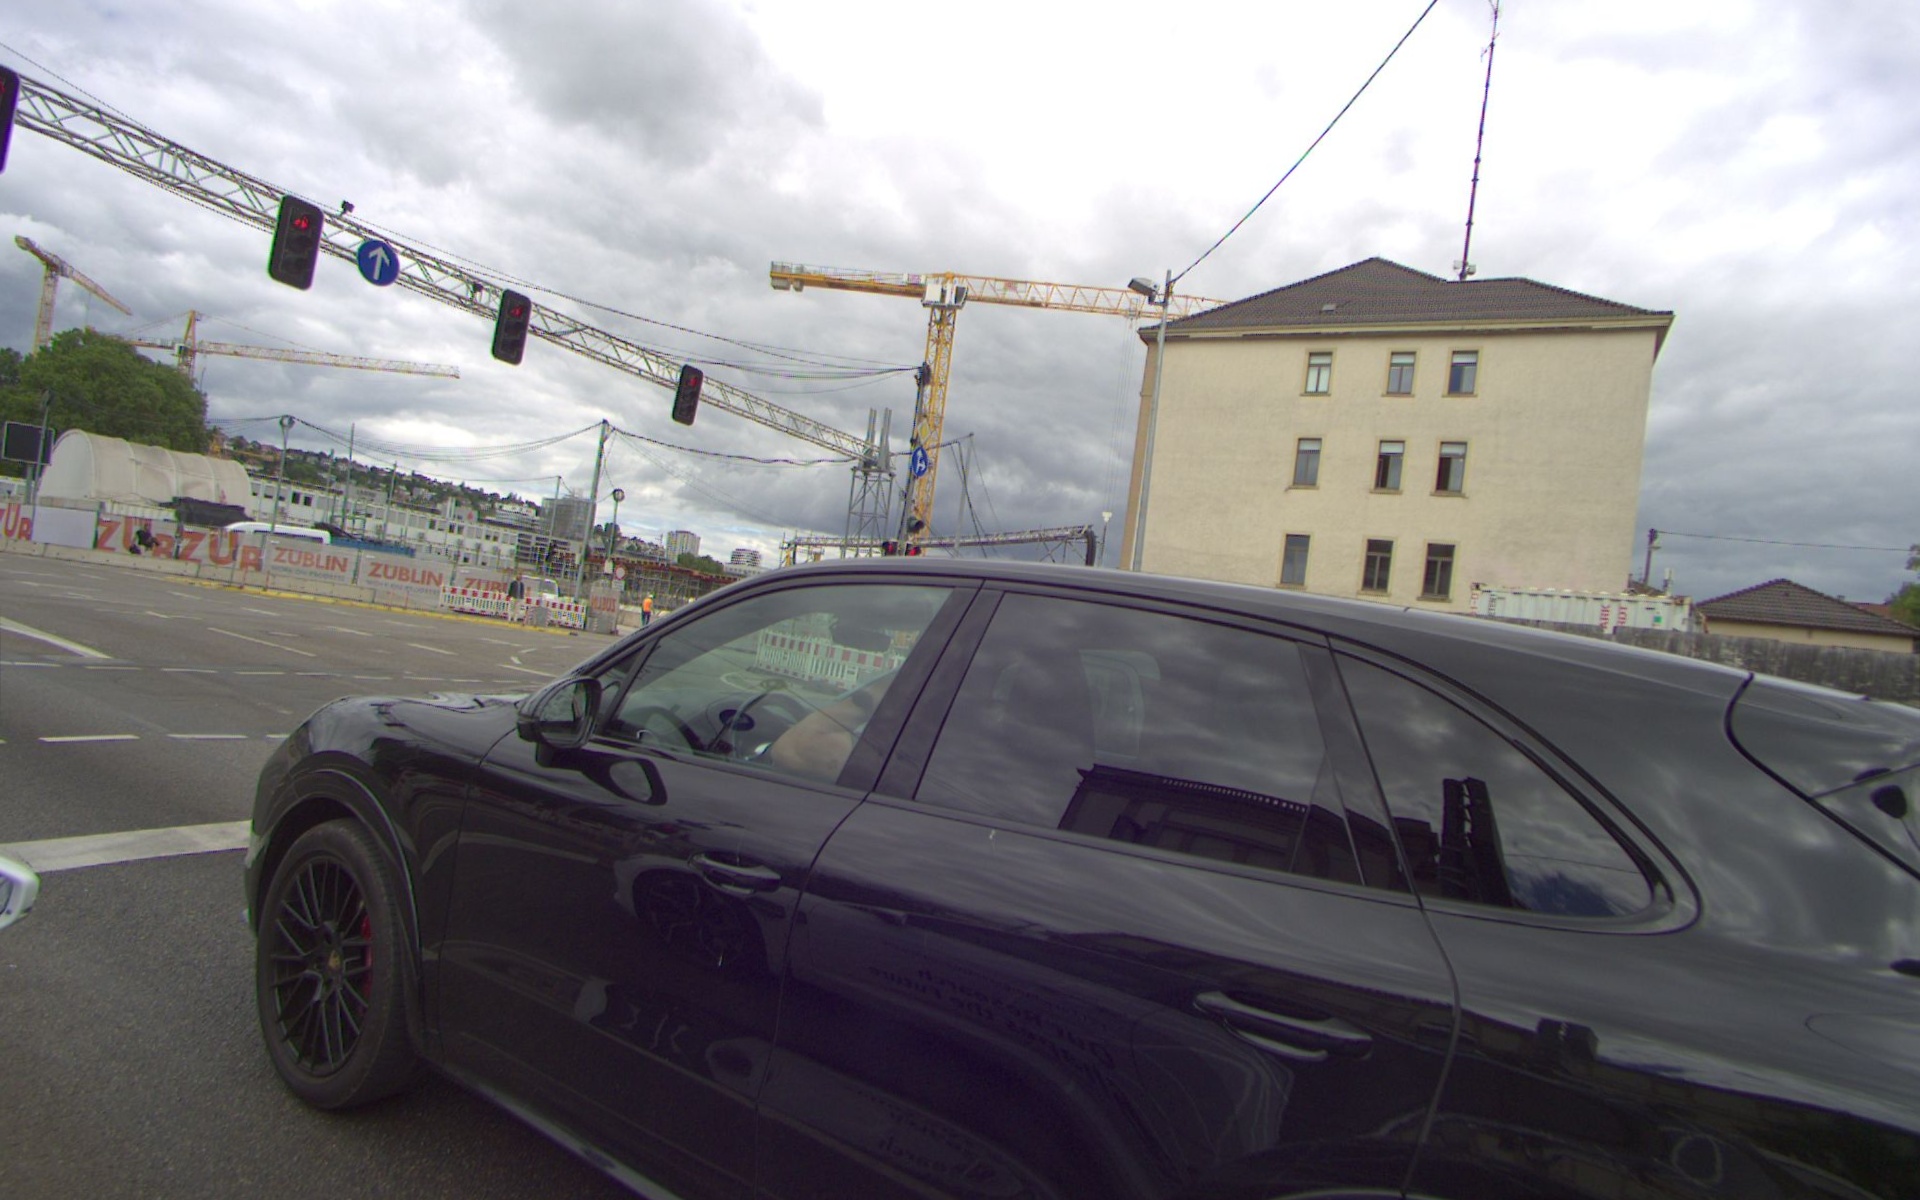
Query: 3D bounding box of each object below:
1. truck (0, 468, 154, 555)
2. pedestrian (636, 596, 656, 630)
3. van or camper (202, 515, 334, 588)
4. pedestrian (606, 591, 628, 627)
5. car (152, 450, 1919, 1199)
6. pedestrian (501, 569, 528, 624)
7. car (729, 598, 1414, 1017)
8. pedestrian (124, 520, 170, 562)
[{"bbox_3d":[-57.901,-5.782,61.918,3.875,4.086,13.089,8,-2,12],"label":"truck"},{"bbox_3d":[-16.641,0.688,53.285,0.508,1.737,0.654,7,-1,21],"label":"pedestrian"},{"bbox_3d":[-29.809,-2.066,43.402,4.204,2.384,1.976,10,-3,-44],"label":"van or camper"},{"bbox_3d":[-18.786,0.497,55.107,0.607,1.816,0.654,7,-1,23],"label":"pedestrian"},{"bbox_3d":[0.042,0.716,2.690,4.559,1.705,1.959,7,-2,33],"label":"car"},{"bbox_3d":[-17.264,-0.124,38.997,0.647,2.037,0.513,8,-1,-33],"label":"pedestrian"},{"bbox_3d":[0.598,1.044,6.366,3.818,1.561,1.667,7,-2,33],"label":"car"},{"bbox_3d":[-30.906,-2.247,38.254,0.888,1.393,0.800,8,-1,8],"label":"pedestrian"}]
